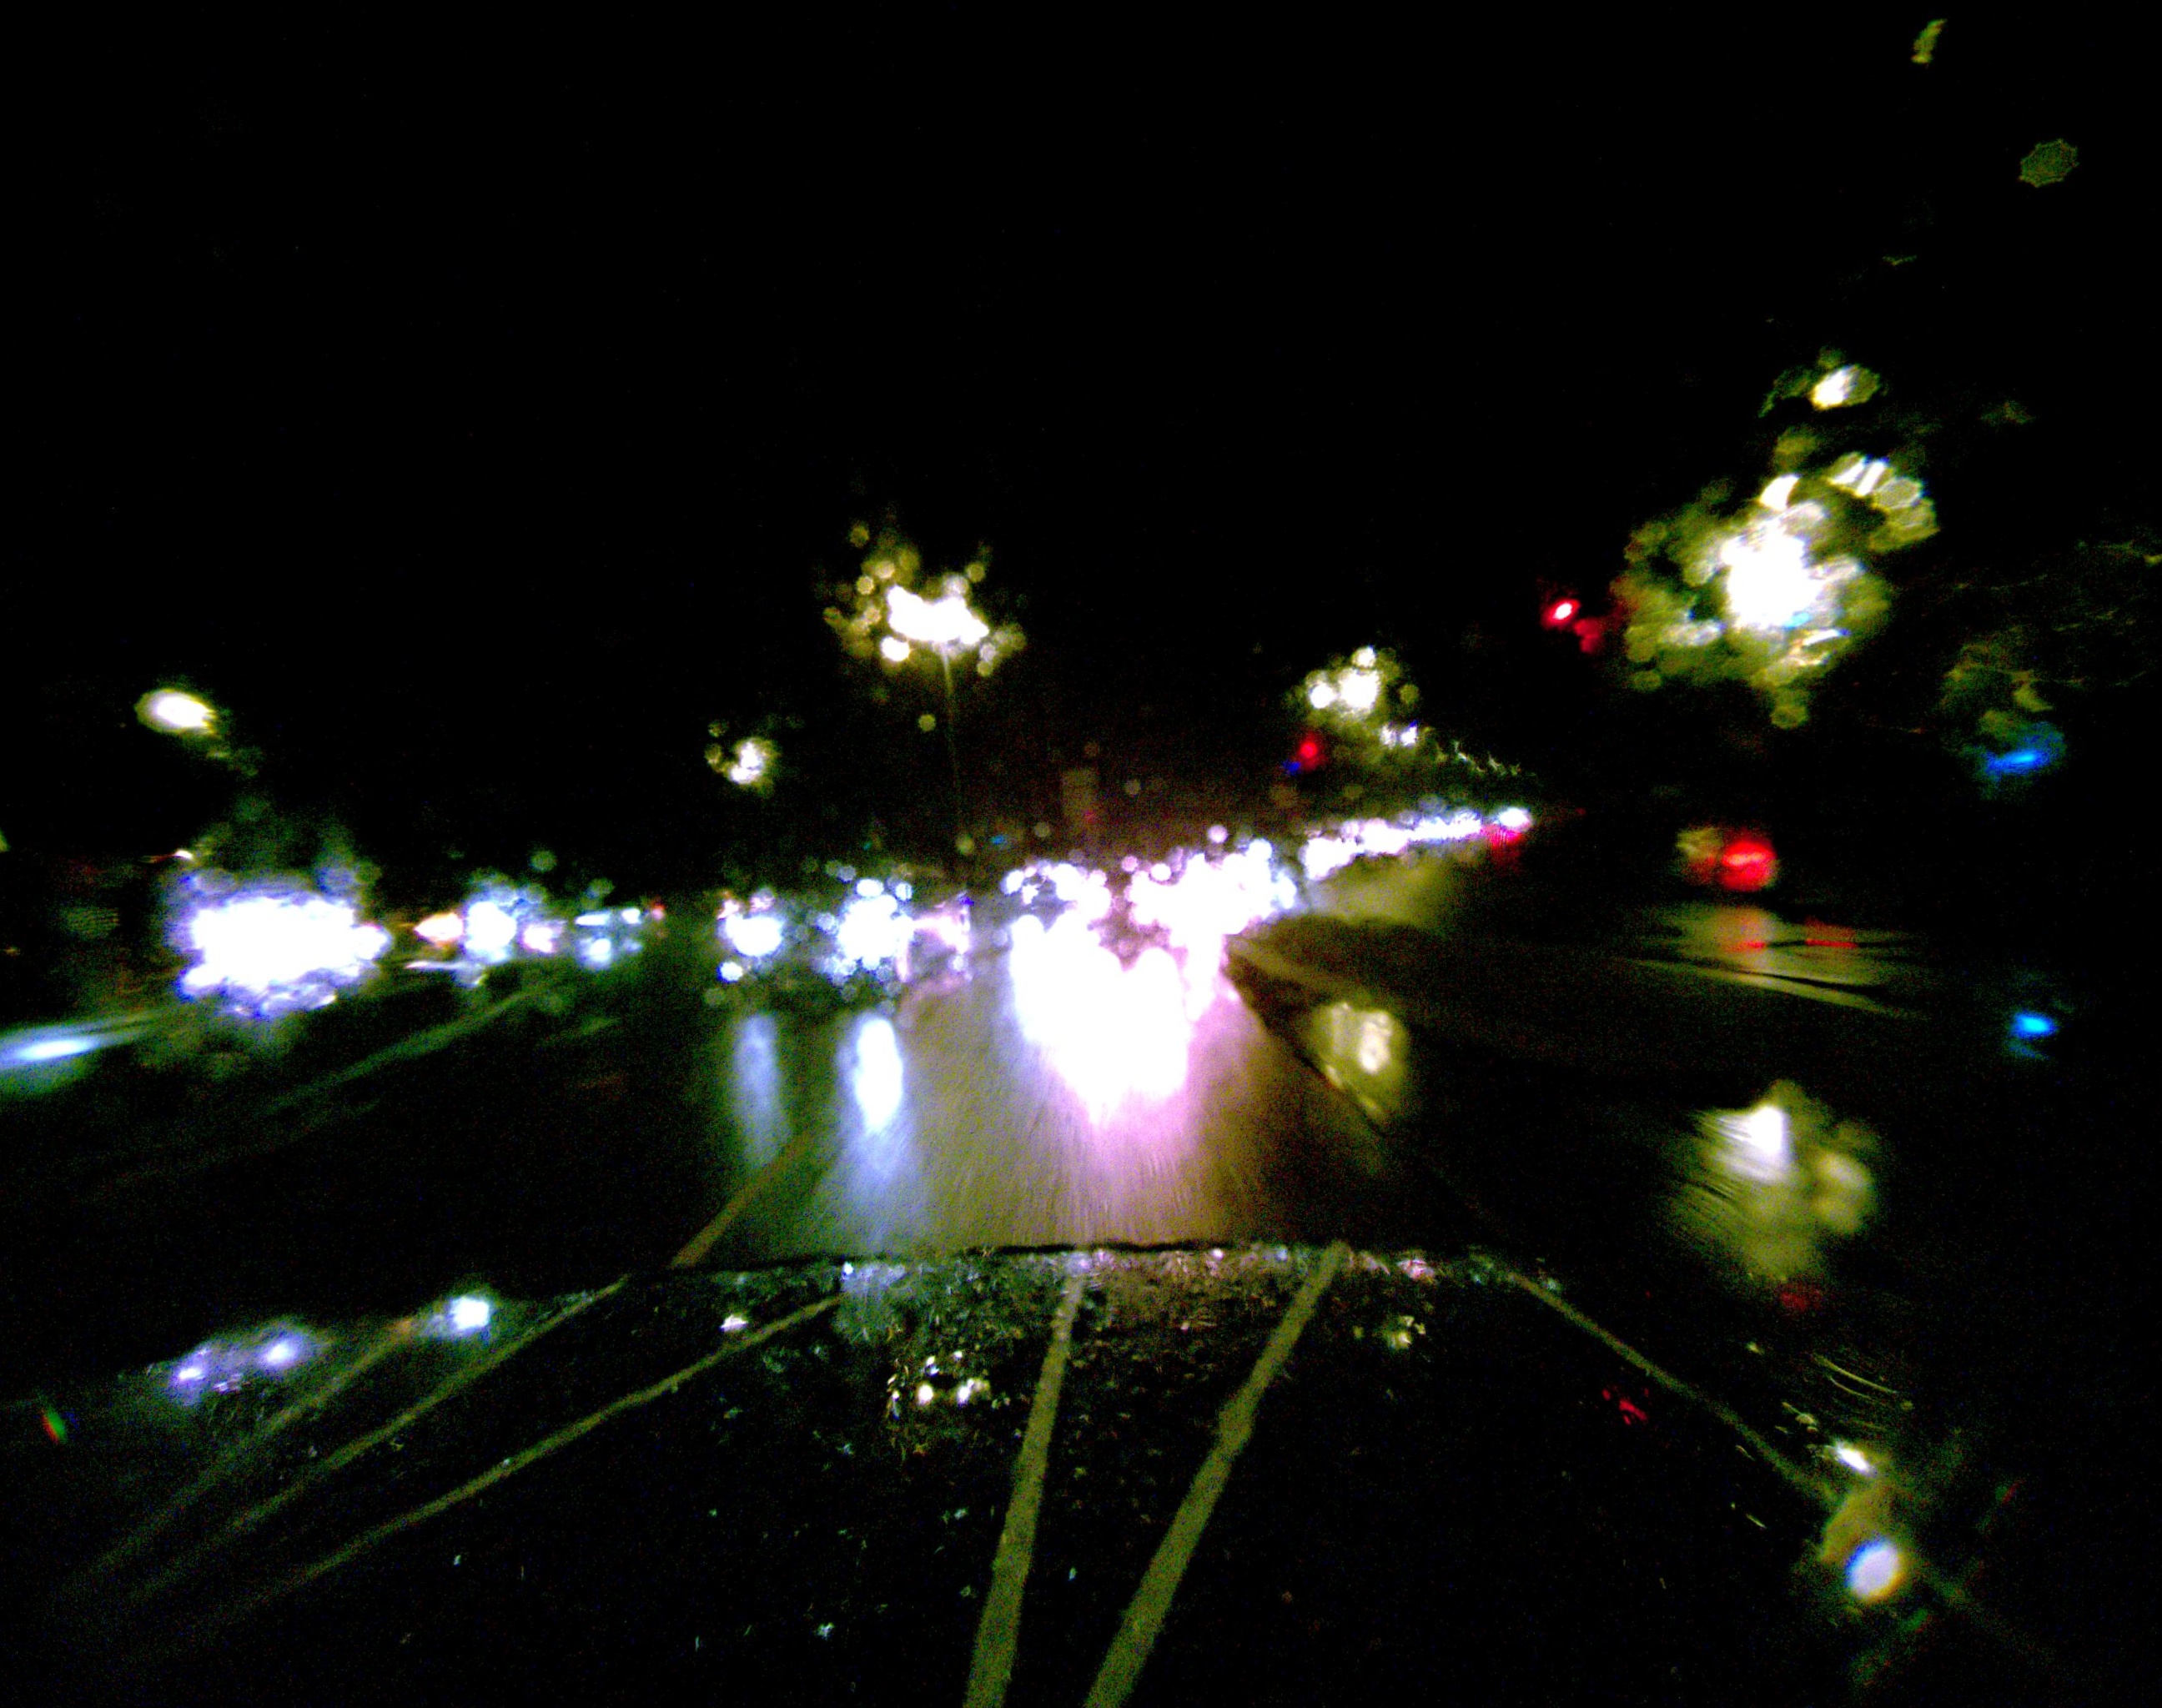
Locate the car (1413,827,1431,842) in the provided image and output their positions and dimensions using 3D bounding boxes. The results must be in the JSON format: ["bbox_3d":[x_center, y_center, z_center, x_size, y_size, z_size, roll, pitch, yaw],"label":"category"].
[{"bbox_3d":[48.762,-2.818,108.737,1.866,2.002,4.007,-3,0,30],"label":"car"}]

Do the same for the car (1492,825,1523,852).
[{"bbox_3d":[33.831,-1.216,60.322,1.995,2.002,4.007,-3,0,29],"label":"car"}]

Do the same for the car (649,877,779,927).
[{"bbox_3d":[-13.315,1.724,27.563,4.108,1.630,2.003,-2,1,24],"label":"car"}]

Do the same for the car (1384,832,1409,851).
[{"bbox_3d":[33.999,-1.350,81.792,1.866,2.002,4.007,-3,0,30],"label":"car"}]

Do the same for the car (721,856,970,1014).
[{"bbox_3d":[-2.940,0.912,10.576,1.927,1.704,4.239,-1,0,3],"label":"car"}]

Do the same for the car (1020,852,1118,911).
[{"bbox_3d":[-0.265,0.815,24.223,2.044,1.610,4.292,-3,0,14],"label":"car"}]

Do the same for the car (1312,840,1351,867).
[{"bbox_3d":[20.325,-0.046,61.502,1.995,2.002,4.007,-3,0,32],"label":"car"}]

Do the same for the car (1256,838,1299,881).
[{"bbox_3d":[12.035,0.303,46.265,1.996,2.003,4.001,-7,4,20],"label":"car"}]

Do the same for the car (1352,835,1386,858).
[{"bbox_3d":[27.455,-0.723,72.365,1.865,2.002,4.008,-3,0,37],"label":"car"}]

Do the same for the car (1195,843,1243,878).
[{"bbox_3d":[8.621,0.369,47.325,1.866,2.002,4.006,-3,0,25],"label":"car"}]

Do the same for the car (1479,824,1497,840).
[{"bbox_3d":[48.240,-2.591,90.090,1.740,1.845,4.007,-3,0,29],"label":"car"}]

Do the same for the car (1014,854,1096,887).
[{"bbox_3d":[-1.532,0.973,44.785,4.268,1.688,1.996,-3,0,-28],"label":"car"}]

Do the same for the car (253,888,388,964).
[{"bbox_3d":[-25.096,2.390,25.061,3.991,2.003,1.765,-6,4,28],"label":"car"}]

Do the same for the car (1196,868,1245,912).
[{"bbox_3d":[5.805,1.452,31.440,1.303,1.521,3.049,-3,2,22],"label":"car"}]

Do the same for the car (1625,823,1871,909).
[{"bbox_3d":[14.406,0.234,16.883,1.988,1.595,4.838,-1,0,12],"label":"car"}]

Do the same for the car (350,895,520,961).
[{"bbox_3d":[-18.831,2.075,22.133,4.770,1.630,2.003,-2,1,27],"label":"car"}]

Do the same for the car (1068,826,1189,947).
[{"bbox_3d":[1.126,0.537,15.720,1.997,2.003,4.000,-3,3,9],"label":"car"}]

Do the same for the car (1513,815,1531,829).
[{"bbox_3d":[65.816,-4.757,113.355,1.790,2.002,4.008,-1,1,36],"label":"car"}]

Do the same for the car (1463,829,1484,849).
[{"bbox_3d":[39.567,-1.540,76.515,1.740,1.845,4.007,-3,0,29],"label":"car"}]

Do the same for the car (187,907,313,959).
[{"bbox_3d":[-30.970,2.932,28.301,4.336,1.630,2.003,-4,1,27],"label":"car"}]

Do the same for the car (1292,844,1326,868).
[{"bbox_3d":[20.871,0.180,69.540,1.995,2.002,4.007,-3,0,31],"label":"car"}]

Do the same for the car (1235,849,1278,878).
[{"bbox_3d":[13.495,0.695,58.276,1.832,2.002,4.008,-3,0,35],"label":"car"}]

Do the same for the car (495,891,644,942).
[{"bbox_3d":[-16.644,1.985,24.728,4.534,1.400,2.003,-2,1,27],"label":"car"}]
